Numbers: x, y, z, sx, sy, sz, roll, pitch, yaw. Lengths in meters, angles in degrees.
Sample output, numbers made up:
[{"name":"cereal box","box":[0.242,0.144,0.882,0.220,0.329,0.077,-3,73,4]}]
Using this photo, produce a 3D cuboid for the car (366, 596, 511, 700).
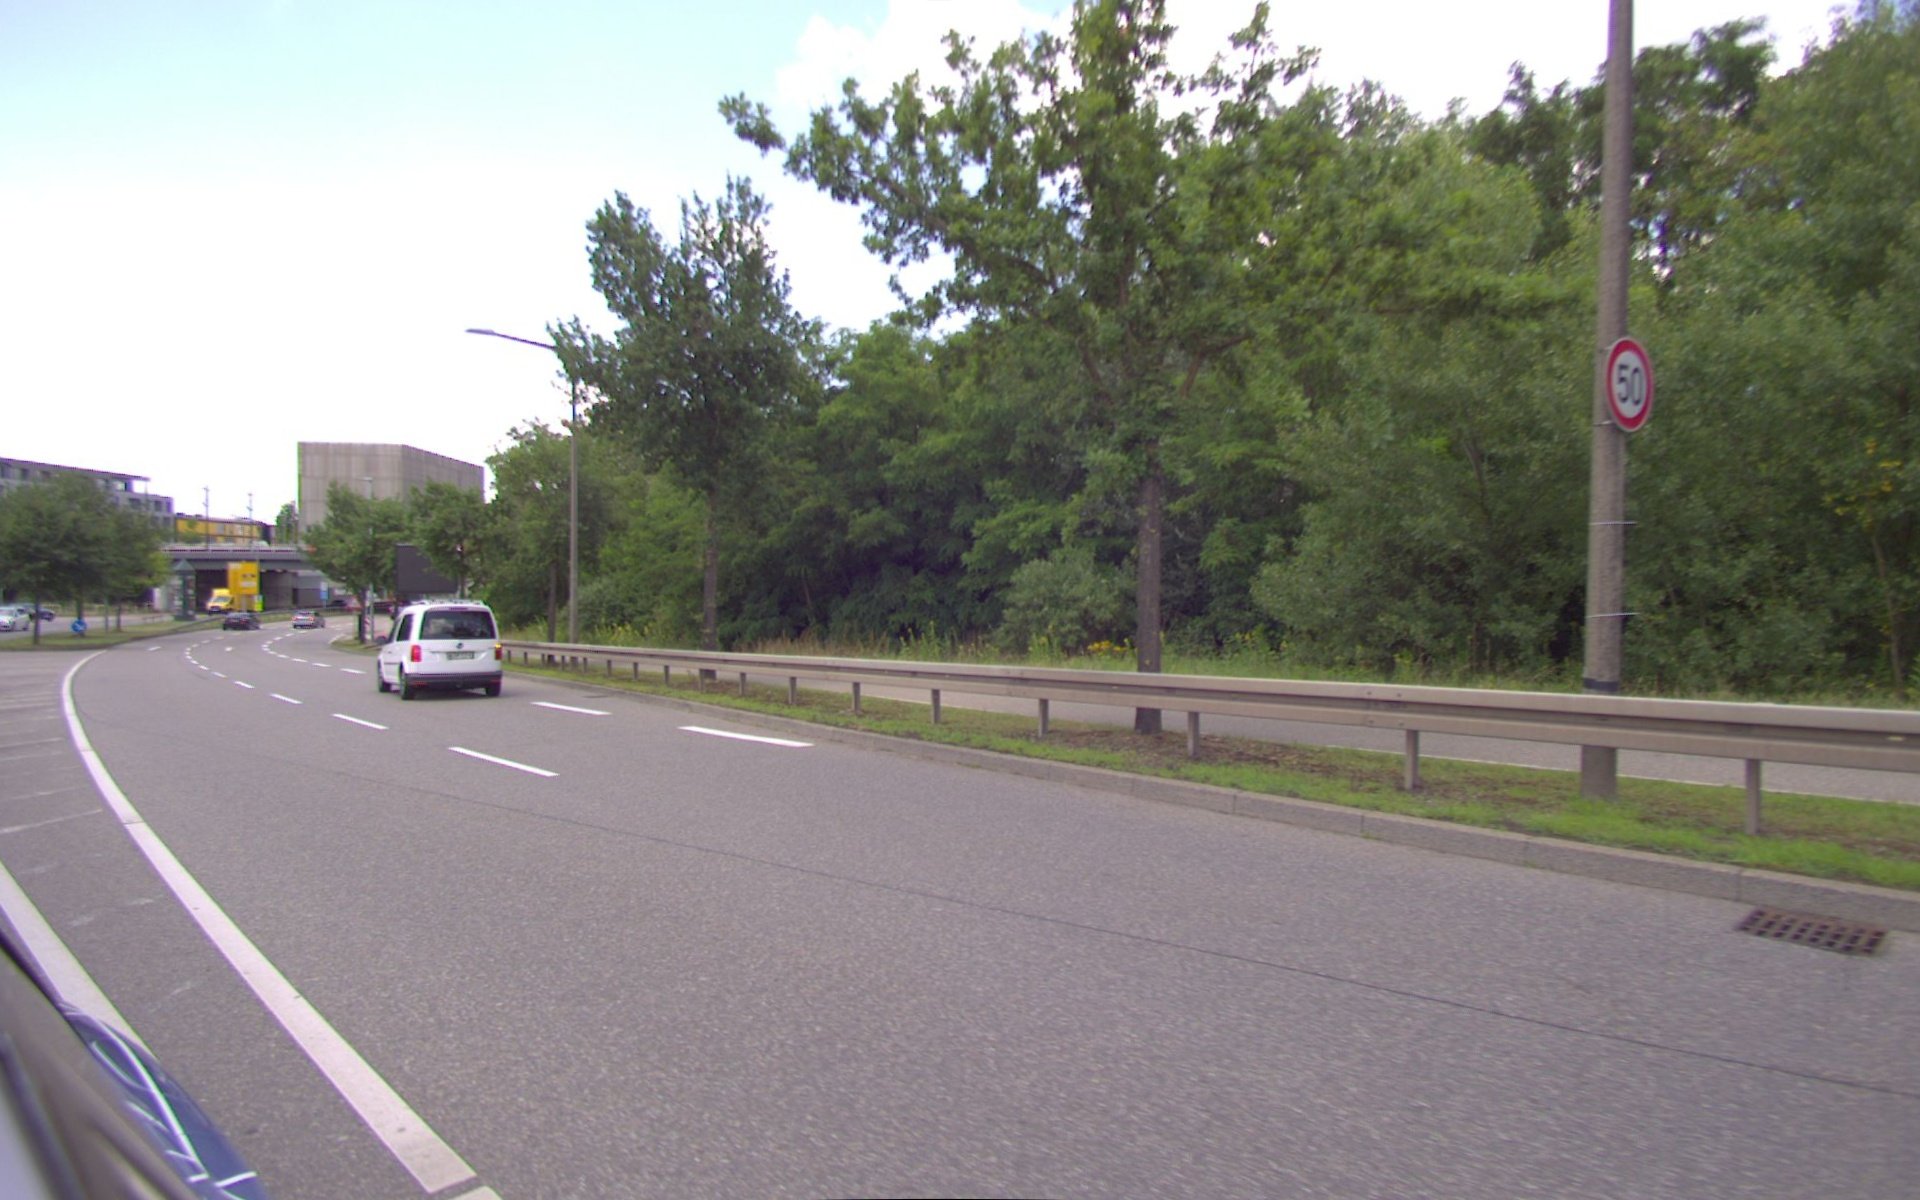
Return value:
[{"name":"car","box":[-10.587,0.925,20.404,1.752,1.877,4.132,1,-2,-40]}]

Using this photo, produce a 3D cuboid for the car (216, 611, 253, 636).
[{"name":"car","box":[-57.066,1.850,79.657,1.946,1.849,4.012,3,-2,-30]}]

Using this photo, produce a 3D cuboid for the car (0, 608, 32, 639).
[{"name":"car","box":[-65.000,1.556,68.571,1.965,2.029,4.013,2,-2,-25]}]

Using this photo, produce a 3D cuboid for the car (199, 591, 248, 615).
[{"name":"car","box":[-79.226,0.310,108.969,1.969,2.337,4.893,-2,1,-5]}]

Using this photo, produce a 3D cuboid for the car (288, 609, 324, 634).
[{"name":"car","box":[-55.545,1.826,85.994,1.945,2.029,4.013,2,-2,-25]}]
